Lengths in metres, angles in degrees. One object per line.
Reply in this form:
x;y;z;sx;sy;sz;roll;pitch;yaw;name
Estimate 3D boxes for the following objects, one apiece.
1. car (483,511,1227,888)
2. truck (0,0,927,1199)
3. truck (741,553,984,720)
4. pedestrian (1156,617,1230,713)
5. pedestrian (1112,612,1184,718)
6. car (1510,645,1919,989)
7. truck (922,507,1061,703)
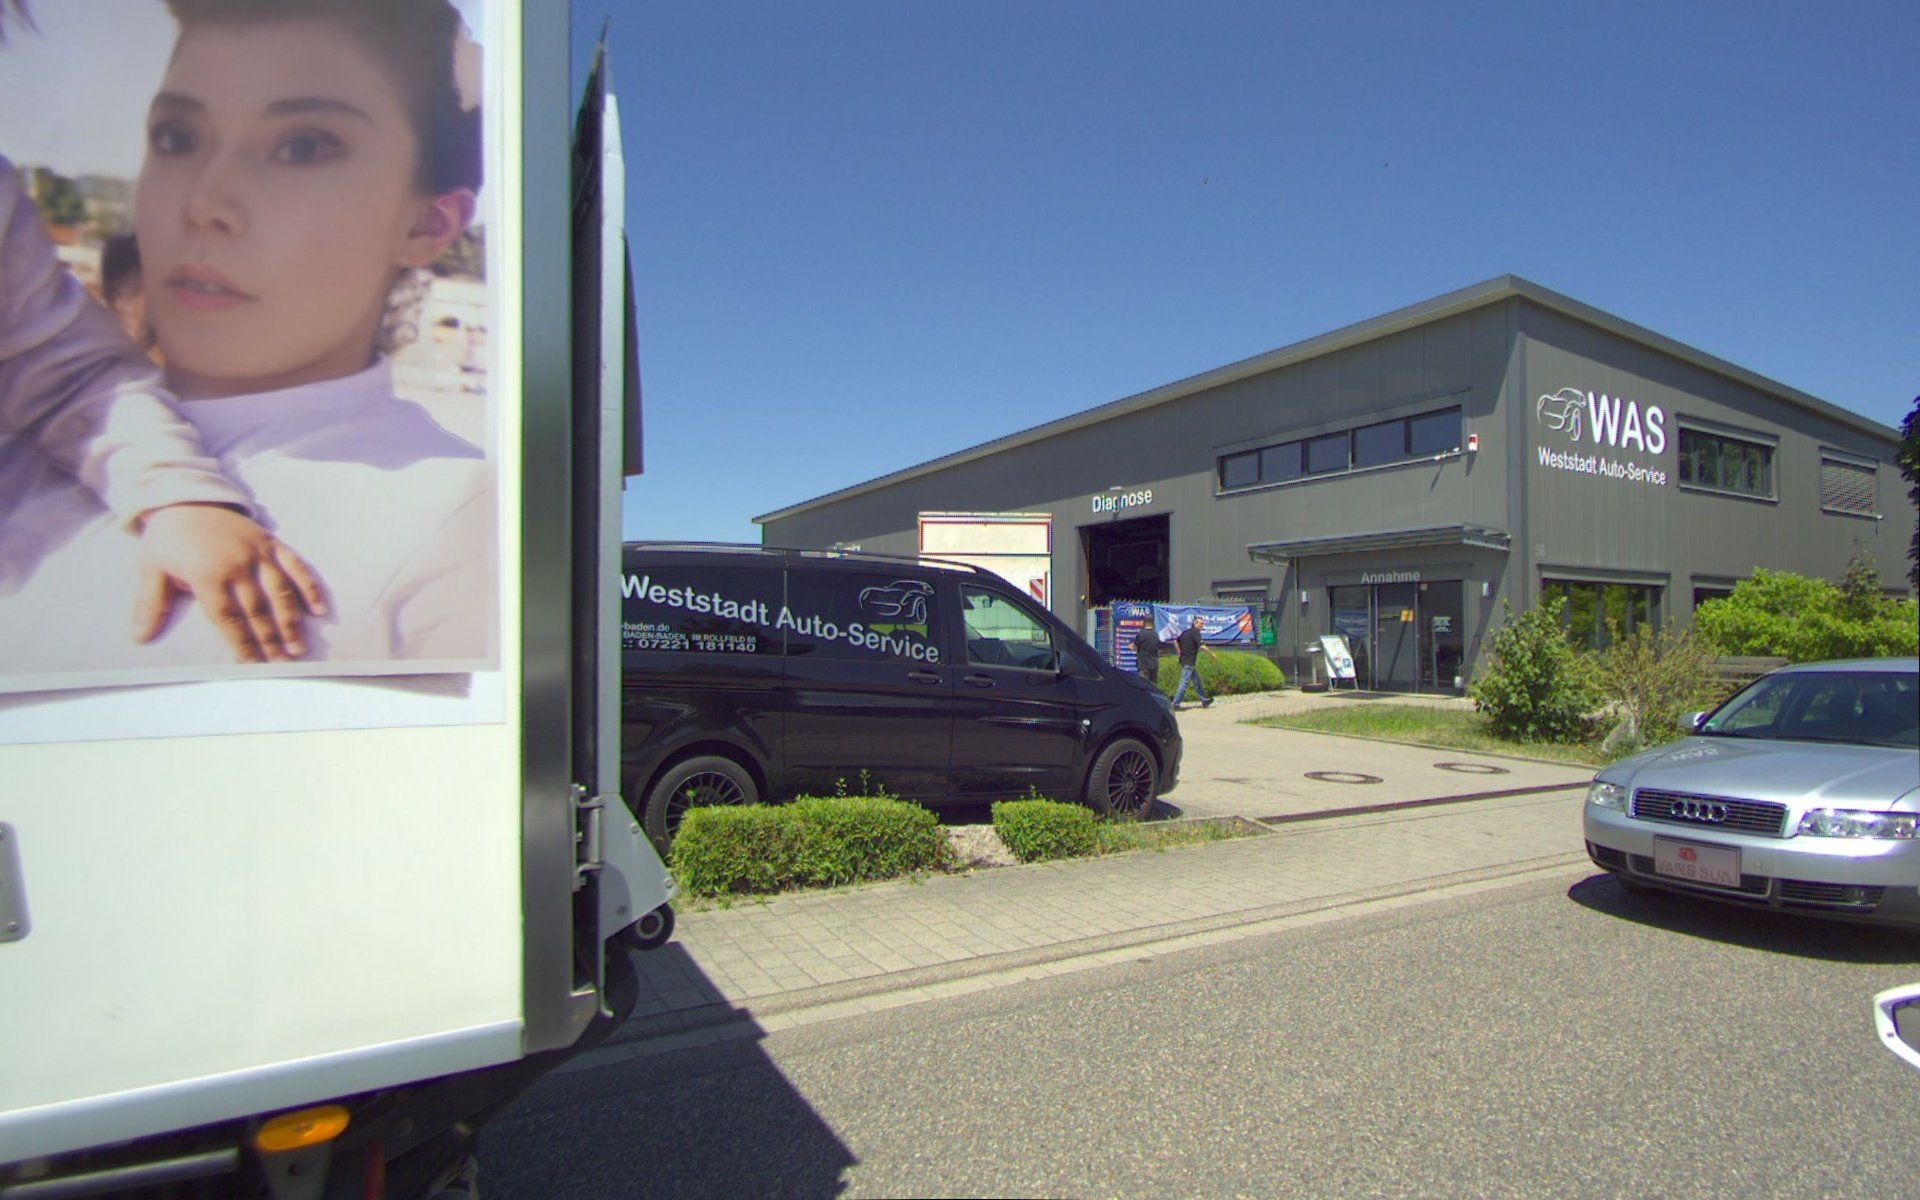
-0.608;0.610;7.469;5.157;1.982;1.984;2;-2;-30;car
-3.368;-0.033;1.013;6.338;2.897;2.352;2;-4;-30;truck
-2.010;0.583;18.121;2.140;2.494;5.927;1;-1;-29;truck
4.275;1.175;18.423;1.071;1.667;0.721;-2;0;-30;pedestrian
3.191;1.080;17.128;0.995;1.748;0.932;0;0;-5;pedestrian
5.575;1.015;5.970;4.353;1.440;1.779;1;-4;-25;car
0.566;0.147;22.689;2.536;3.604;8.064;1;-1;0;truck
